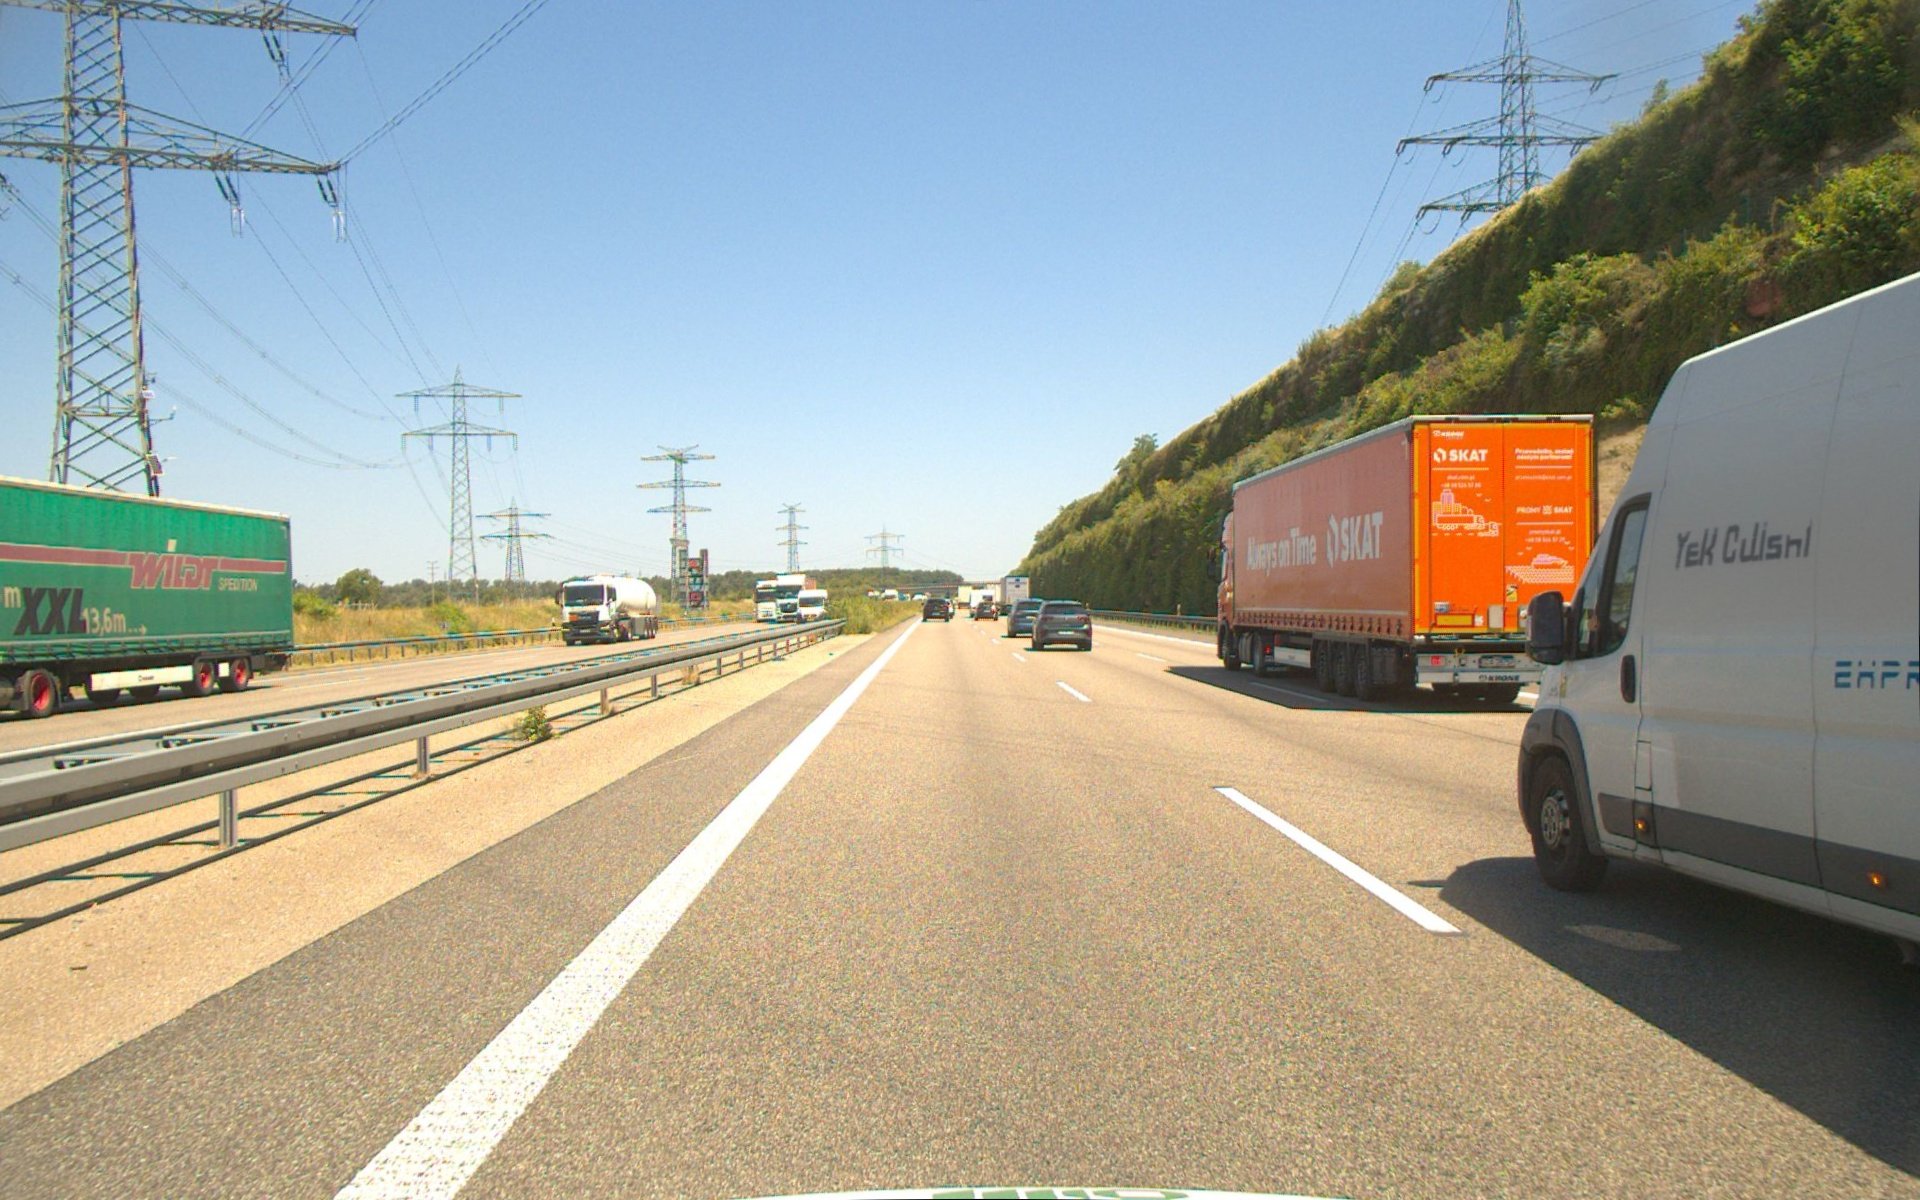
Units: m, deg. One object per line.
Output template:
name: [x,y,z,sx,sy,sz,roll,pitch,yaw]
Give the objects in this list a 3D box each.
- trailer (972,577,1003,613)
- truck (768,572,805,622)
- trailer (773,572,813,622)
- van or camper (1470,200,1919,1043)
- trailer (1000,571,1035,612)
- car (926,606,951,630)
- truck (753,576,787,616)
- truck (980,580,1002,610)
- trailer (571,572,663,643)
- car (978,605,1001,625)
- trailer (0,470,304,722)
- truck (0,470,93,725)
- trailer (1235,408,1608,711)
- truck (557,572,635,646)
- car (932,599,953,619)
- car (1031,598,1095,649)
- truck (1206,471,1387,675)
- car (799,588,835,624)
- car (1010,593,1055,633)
trailer: [2.583,-0.437,157.390,2.558,3.269,9.950,-1,0,-1]
truck: [-15.235,-0.263,145.899,2.547,4.285,5.909,-2,0,0]
trailer: [-15.423,-0.252,153.283,2.539,4.312,14.324,-2,0,-2]
van or camper: [4.210,0.068,6.705,2.054,2.817,6.755,0,0,-1]
trailer: [6.163,-0.889,179.284,3.118,4.193,13.429,-1,0,0]
car: [-1.606,1.343,122.722,1.792,1.700,3.999,-1,0,-1]
truck: [-18.971,-0.415,165.511,2.778,3.816,6.847,-2,0,-2]
truck: [4.621,-0.753,247.614,3.055,4.355,11.932,-1,0,0]
trailer: [-17.902,0.349,87.102,2.367,3.431,11.562,-2,0,0]
car: [2.328,1.168,131.284,1.792,1.552,4.000,-1,0,0]
trailer: [-17.256,-0.039,33.466,2.615,4.156,13.912,-1,0,-1]
truck: [-17.099,-0.012,26.811,2.644,4.207,6.579,-1,0,-1]
trailer: [7.352,-0.560,29.086,2.591,4.075,13.603,0,0,-1]
truck: [-17.894,0.414,81.678,2.432,3.437,6.210,-2,0,-1]
car: [-1.542,0.752,143.269,1.792,1.700,3.999,-1,0,-1]
car: [3.261,0.739,53.126,1.714,1.552,3.994,-1,0,-1]
truck: [7.227,-0.553,36.405,2.564,4.062,6.525,0,0,-1]
car: [-10.080,0.410,116.702,1.953,2.479,6.029,-2,0,0]
car: [3.123,0.555,71.924,1.757,1.682,4.137,0,0,-1]
